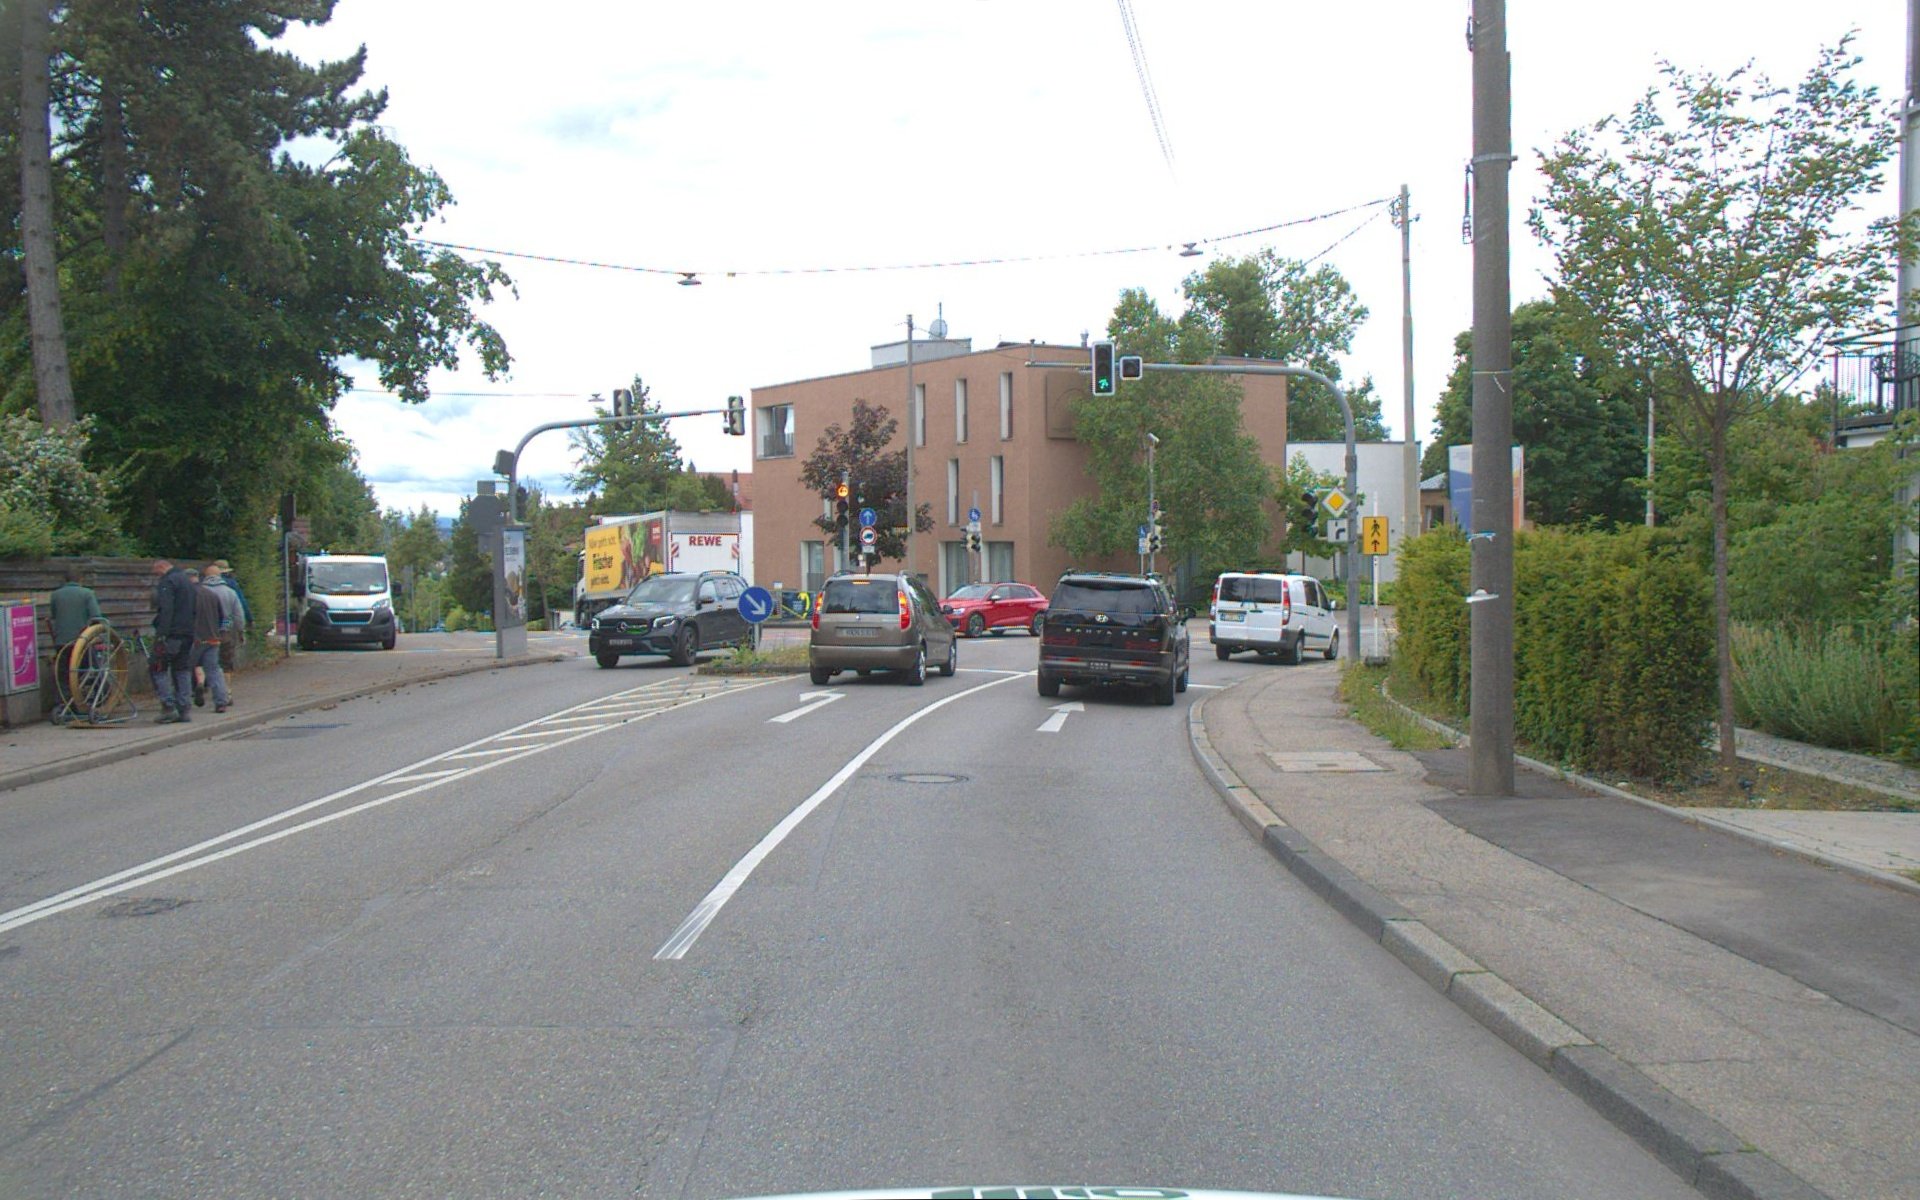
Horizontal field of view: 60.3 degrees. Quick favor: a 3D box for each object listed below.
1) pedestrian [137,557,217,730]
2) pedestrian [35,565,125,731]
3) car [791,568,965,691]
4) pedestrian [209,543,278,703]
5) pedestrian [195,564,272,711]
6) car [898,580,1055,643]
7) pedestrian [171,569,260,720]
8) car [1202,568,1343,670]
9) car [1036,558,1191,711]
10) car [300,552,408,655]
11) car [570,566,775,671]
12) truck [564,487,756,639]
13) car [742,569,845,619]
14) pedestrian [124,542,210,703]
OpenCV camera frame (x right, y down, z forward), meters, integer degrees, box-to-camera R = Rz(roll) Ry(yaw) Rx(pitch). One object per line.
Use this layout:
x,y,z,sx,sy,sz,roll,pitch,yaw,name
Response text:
-8.711,0.465,18.402,0.742,1.869,0.608,-1,0,-31,pedestrian
-9.830,0.517,18.500,0.804,1.794,0.861,-1,0,-24,pedestrian
-1.166,0.402,25.412,1.853,1.735,4.004,-1,0,9,car
-9.410,0.288,21.739,0.695,2.049,1.019,0,0,-16,pedestrian
-9.056,0.453,20.604,0.858,1.784,0.688,0,0,-25,pedestrian
0.489,0.274,44.364,1.964,1.591,4.193,0,0,42,car
-8.906,0.513,19.792,0.683,1.764,0.748,0,0,43,pedestrian
7.042,0.351,36.957,1.924,2.048,4.424,3,2,26,car
2.183,0.435,23.547,1.951,1.914,4.003,2,1,5,car
-14.681,0.050,40.042,2.247,2.266,6.431,-1,1,-21,car
-5.304,0.337,31.173,1.951,1.829,4.523,-1,0,17,car
-10.853,-1.256,58.451,3.091,4.817,11.681,-1,1,-29,truck
-7.144,-0.266,70.797,3.944,2.049,1.981,-1,1,-29,car
-10.250,0.285,21.402,0.690,2.049,0.813,0,0,2,pedestrian
